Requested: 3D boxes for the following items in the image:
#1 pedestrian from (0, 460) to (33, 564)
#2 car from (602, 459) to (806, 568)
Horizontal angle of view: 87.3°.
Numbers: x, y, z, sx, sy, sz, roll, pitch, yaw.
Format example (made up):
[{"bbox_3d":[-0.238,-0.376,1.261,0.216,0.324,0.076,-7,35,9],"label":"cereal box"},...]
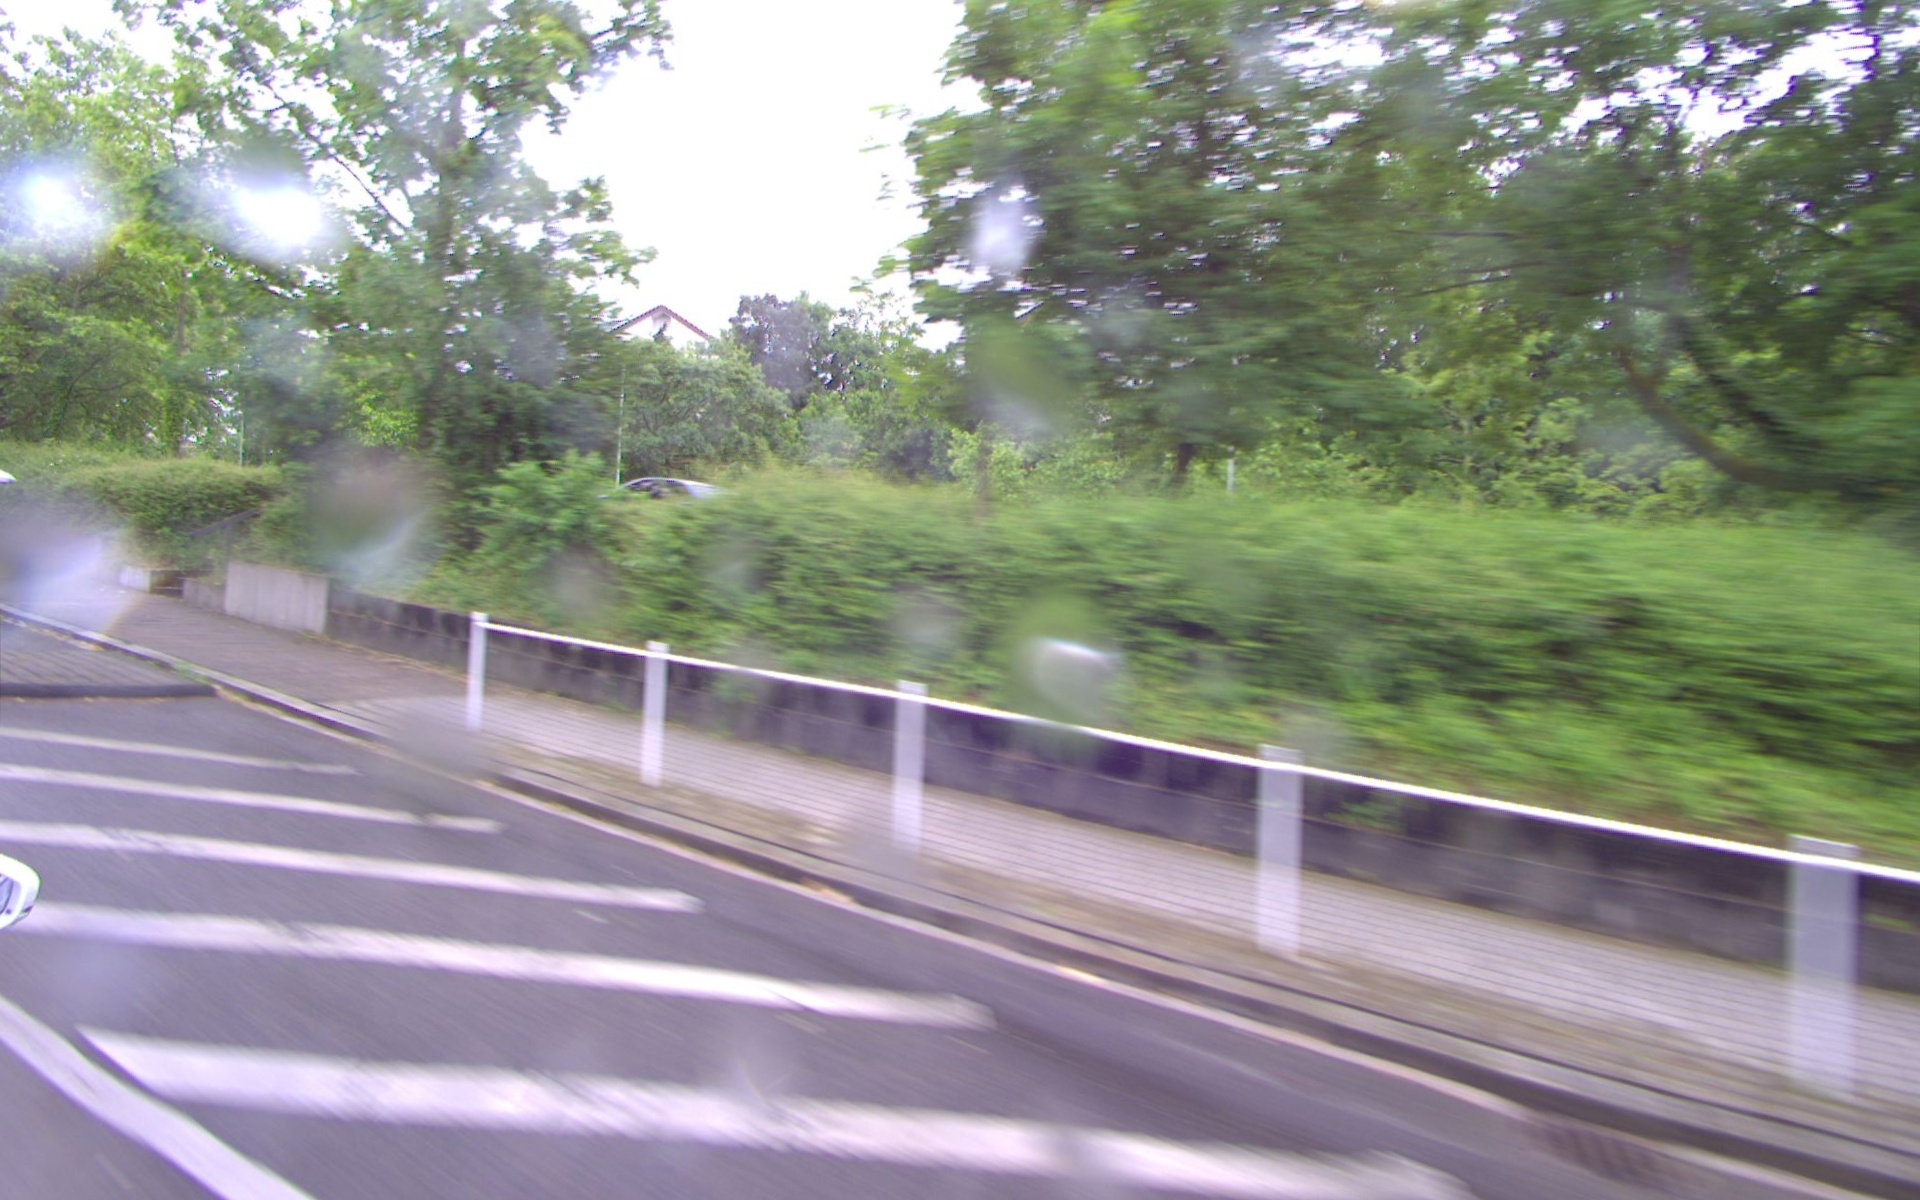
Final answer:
[{"bbox_3d":[-18.696,-1.719,19.198,1.114,1.916,1.053,4,-1,28],"label":"pedestrian"},{"bbox_3d":[-3.967,-1.343,15.538,2.829,1.324,1.309,7,-1,30],"label":"car"}]
